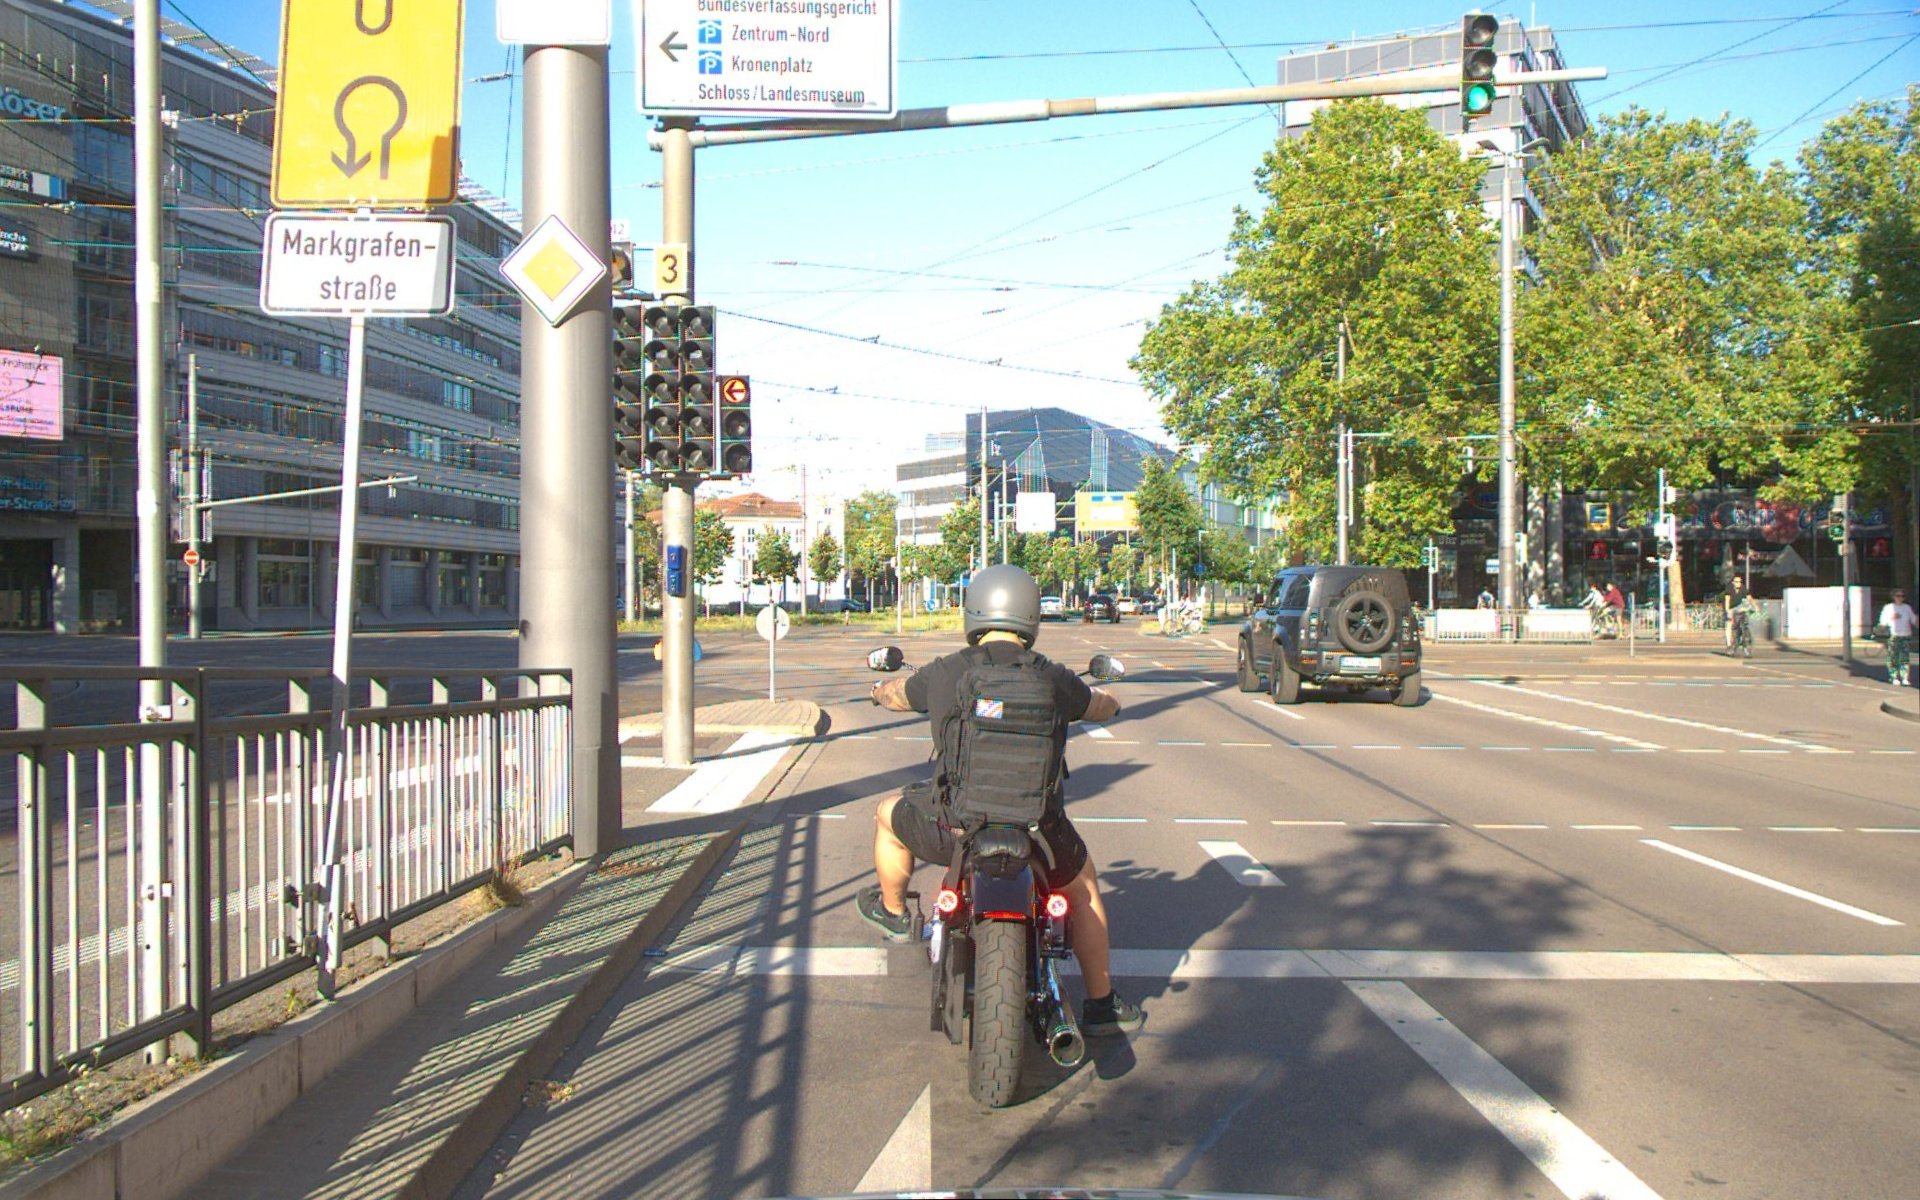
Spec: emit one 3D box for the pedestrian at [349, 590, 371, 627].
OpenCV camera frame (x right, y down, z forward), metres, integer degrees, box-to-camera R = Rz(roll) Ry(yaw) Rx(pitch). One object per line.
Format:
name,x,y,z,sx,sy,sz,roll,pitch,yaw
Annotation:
pedestrian,-29.808,0.423,82.165,0.660,1.855,0.886,-2,-1,9

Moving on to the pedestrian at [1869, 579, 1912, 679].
pedestrian,16.329,0.502,29.013,0.552,1.733,0.656,0,-1,39

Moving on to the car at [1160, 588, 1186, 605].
car,20.181,-0.334,156.439,1.684,1.510,3.755,0,0,19

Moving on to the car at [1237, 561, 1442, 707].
car,5.384,0.462,24.032,2.011,1.906,4.227,1,0,0

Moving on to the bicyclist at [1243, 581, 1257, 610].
bicyclist,19.164,-0.284,109.277,0.842,1.873,1.258,0,0,12

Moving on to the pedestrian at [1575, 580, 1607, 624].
pedestrian,23.639,0.078,61.926,0.826,1.622,0.764,1,-1,-30

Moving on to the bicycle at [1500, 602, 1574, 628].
bicycle,25.428,0.648,72.907,2.979,1.133,0.835,0,0,-1

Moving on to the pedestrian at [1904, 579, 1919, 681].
pedestrian,16.828,0.522,28.785,0.592,1.757,0.599,0,-1,40

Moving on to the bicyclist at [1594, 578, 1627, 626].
bicyclist,22.362,0.078,56.889,0.906,1.643,0.638,0,0,3

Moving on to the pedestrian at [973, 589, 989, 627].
pedestrian,0.886,0.336,69.650,0.643,1.610,0.489,0,0,3

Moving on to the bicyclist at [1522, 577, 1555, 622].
bicyclist,25.504,-0.015,72.922,1.201,1.965,0.835,0,0,-1

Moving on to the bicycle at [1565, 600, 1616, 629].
bicycle,23.606,0.536,61.906,1.896,1.070,0.784,1,-1,-30

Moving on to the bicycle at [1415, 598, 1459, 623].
bicycle,19.230,0.430,66.671,1.668,1.003,0.391,0,0,13

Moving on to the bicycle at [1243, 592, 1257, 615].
bicycle,19.161,0.225,109.253,0.842,1.507,2.578,0,0,12

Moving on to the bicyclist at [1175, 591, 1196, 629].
bicyclist,9.171,0.411,67.245,0.727,1.529,0.570,-1,-1,23

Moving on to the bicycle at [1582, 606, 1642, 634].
bicycle,22.419,0.681,56.890,1.814,0.926,0.652,0,0,3

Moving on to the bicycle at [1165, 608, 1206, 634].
bicycle,9.173,0.870,67.245,1.594,1.039,0.516,-1,-1,23

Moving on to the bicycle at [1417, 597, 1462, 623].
bicycle,19.078,0.392,65.823,1.668,1.003,0.391,0,0,13

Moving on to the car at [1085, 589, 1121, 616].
car,8.416,0.152,97.004,1.802,1.490,4.003,1,0,9

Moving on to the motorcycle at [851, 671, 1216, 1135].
motorcycle,0.185,0.882,5.695,0.985,1.145,2.323,1,0,-1

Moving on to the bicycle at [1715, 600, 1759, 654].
bicycle,17.149,0.584,36.513,0.588,1.068,1.882,-5,0,19

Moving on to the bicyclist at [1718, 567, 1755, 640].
bicyclist,17.158,0.080,36.553,0.566,1.541,0.850,-4,1,18

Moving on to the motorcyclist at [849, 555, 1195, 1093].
motorcyclist,0.175,0.662,5.546,1.001,1.579,1.286,1,0,-1

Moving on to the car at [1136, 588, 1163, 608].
car,16.993,-0.188,148.123,1.684,1.686,3.756,0,0,18

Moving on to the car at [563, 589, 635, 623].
car,-17.062,0.270,78.452,1.753,1.491,4.315,-1,1,11

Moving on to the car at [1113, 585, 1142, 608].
car,14.163,-0.307,139.776,1.780,1.849,3.946,0,0,16

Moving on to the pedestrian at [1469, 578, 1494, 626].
pedestrian,21.102,0.083,66.905,0.829,1.884,0.810,2,0,14

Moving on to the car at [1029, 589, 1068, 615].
car,5.476,0.150,101.615,1.861,1.534,4.003,1,0,11
